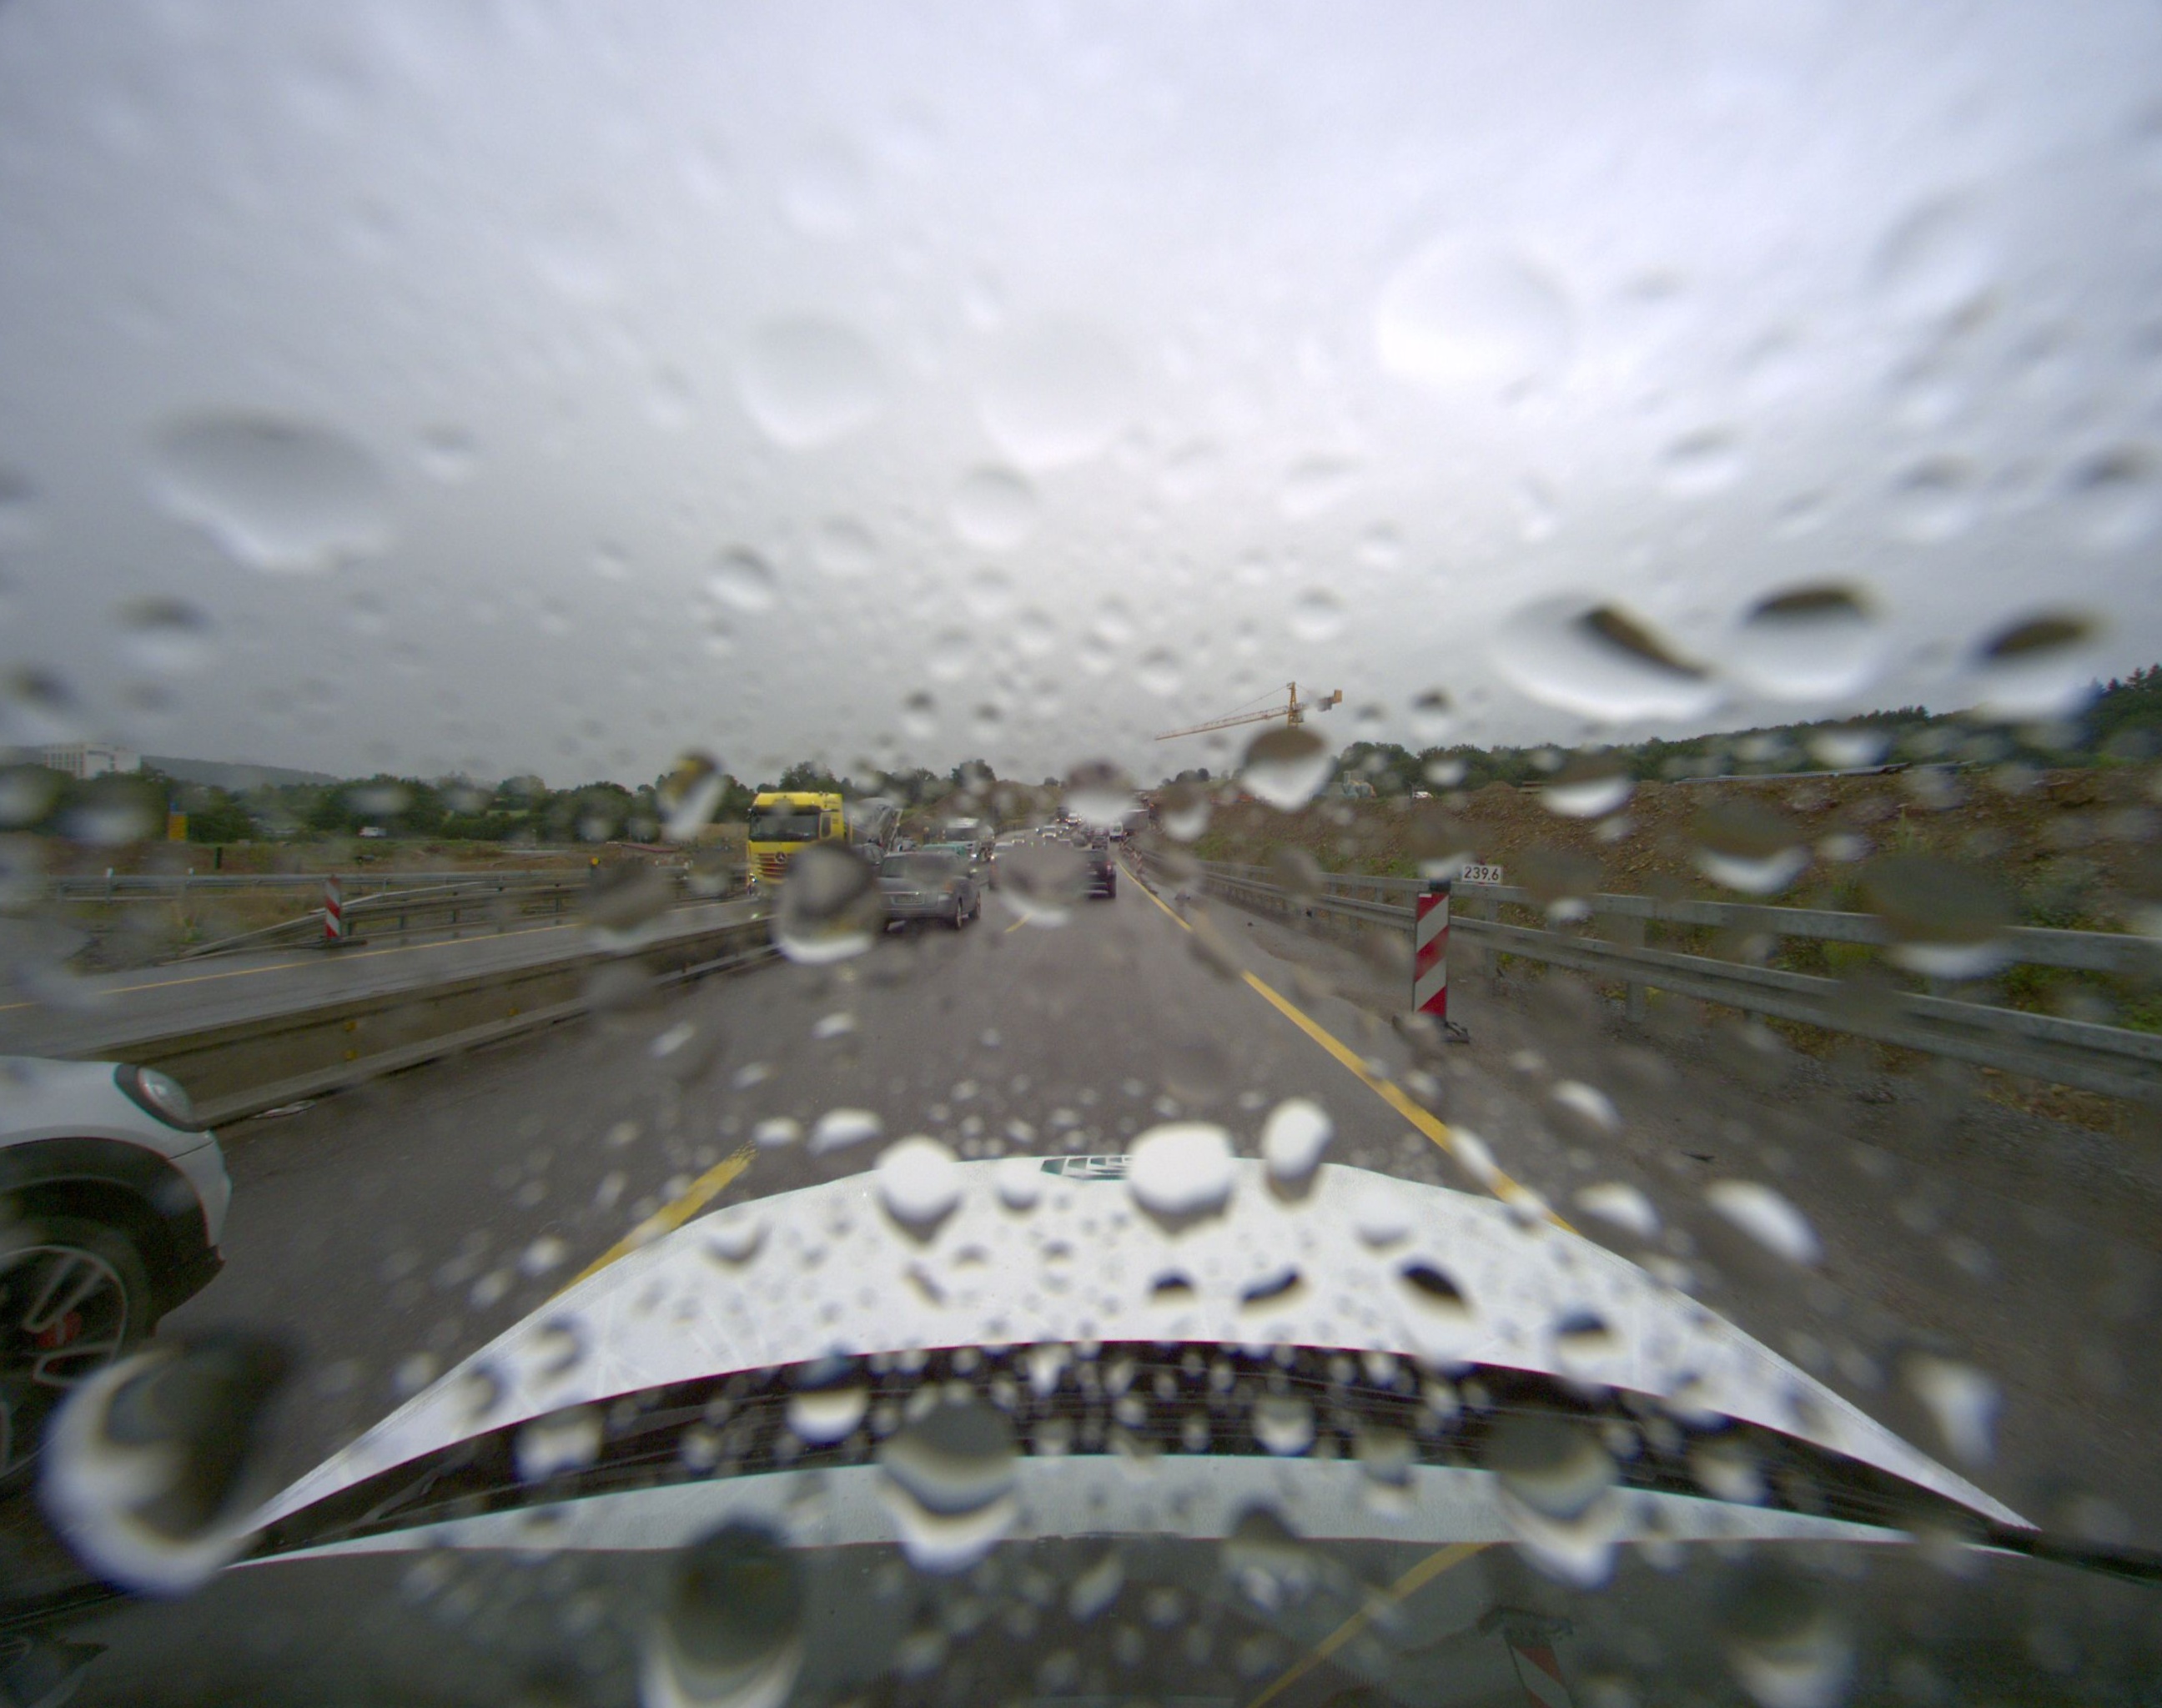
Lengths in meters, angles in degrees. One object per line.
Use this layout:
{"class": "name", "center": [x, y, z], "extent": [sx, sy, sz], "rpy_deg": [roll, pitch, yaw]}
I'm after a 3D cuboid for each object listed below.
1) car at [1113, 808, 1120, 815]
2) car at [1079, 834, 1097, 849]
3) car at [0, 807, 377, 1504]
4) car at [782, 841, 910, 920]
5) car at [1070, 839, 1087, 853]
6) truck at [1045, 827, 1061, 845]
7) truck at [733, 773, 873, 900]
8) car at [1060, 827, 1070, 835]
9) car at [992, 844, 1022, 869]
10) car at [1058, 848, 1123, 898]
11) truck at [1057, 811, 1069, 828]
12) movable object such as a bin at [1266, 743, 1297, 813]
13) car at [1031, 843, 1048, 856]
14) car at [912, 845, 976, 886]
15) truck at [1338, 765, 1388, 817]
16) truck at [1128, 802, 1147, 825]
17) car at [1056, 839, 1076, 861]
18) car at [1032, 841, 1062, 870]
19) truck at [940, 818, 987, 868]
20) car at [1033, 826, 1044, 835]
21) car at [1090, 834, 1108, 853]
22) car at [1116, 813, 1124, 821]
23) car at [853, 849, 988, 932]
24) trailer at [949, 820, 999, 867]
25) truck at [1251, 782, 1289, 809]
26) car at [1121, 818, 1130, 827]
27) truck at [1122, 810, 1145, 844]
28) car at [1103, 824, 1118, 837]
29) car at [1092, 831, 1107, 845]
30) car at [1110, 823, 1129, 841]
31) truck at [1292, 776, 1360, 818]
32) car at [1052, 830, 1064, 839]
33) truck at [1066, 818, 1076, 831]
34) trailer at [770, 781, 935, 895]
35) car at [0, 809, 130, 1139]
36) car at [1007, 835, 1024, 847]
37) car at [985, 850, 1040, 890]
{"class": "car", "center": [10.502, -12.719, 243.451], "extent": [1.987, 2.013, 4.000], "rpy_deg": [0, 0, 0]}
{"class": "car", "center": [1.009, -1.745, 118.126], "extent": [1.982, 2.162, 4.151], "rpy_deg": [0, 0, 9]}
{"class": "car", "center": [-3.430, 0.718, 0.685], "extent": [1.809, 1.600, 4.310], "rpy_deg": [0, 1, 2]}
{"class": "car", "center": [-6.099, 0.625, 21.816], "extent": [1.781, 1.805, 5.191], "rpy_deg": [-2, 0, 1]}
{"class": "car", "center": [-0.304, -0.989, 106.638], "extent": [1.986, 1.761, 3.816], "rpy_deg": [0, 0, 2]}
{"class": "truck", "center": [-4.095, -2.575, 120.017], "extent": [2.071, 2.576, 5.962], "rpy_deg": [0, 0, 1]}
{"class": "truck", "center": [-9.681, -0.577, 29.124], "extent": [2.739, 4.062, 6.149], "rpy_deg": [0, 0, 1]}
{"class": "car", "center": [-3.094, -4.371, 155.048], "extent": [1.671, 1.523, 4.346], "rpy_deg": [-1, 2, 1]}
{"class": "car", "center": [-5.536, 0.167, 61.274], "extent": [1.859, 1.800, 4.163], "rpy_deg": [0, 0, 1]}
{"class": "car", "center": [0.378, 0.610, 28.461], "extent": [2.073, 1.600, 4.142], "rpy_deg": [0, 0, 2]}
{"class": "truck", "center": [-4.195, -8.128, 192.674], "extent": [2.633, 3.969, 9.214], "rpy_deg": [0, 3, 0]}
{"class": "movable object such as a bin", "center": [34.048, -12.653, 137.919], "extent": [4.683, 10.841, 10.346], "rpy_deg": [0, 0, 15]}
{"class": "car", "center": [-5.000, -0.536, 99.404], "extent": [1.766, 1.504, 4.679], "rpy_deg": [-1, 1, 1]}
{"class": "car", "center": [-6.126, 0.467, 36.931], "extent": [1.986, 1.759, 4.689], "rpy_deg": [0, 1, 1]}
{"class": "truck", "center": [25.045, -5.524, 72.601], "extent": [2.365, 4.218, 5.979], "rpy_deg": [0, 0, 0]}
{"class": "truck", "center": [13.786, -9.849, 198.893], "extent": [3.791, 5.042, 12.922], "rpy_deg": [0, 0, 0]}
{"class": "car", "center": [-1.618, -0.428, 86.044], "extent": [1.988, 2.162, 4.137], "rpy_deg": [0, 0, -2]}
{"class": "car", "center": [-2.439, 0.083, 59.595], "extent": [1.987, 2.013, 3.893], "rpy_deg": [0, 0, 0]}
{"class": "truck", "center": [-9.117, -0.863, 63.776], "extent": [2.611, 3.677, 6.595], "rpy_deg": [0, 0, 0]}
{"class": "car", "center": [-7.559, -4.160, 145.271], "extent": [1.780, 1.538, 4.313], "rpy_deg": [-1, 1, 1]}
{"class": "car", "center": [2.170, -1.231, 96.920], "extent": [1.986, 2.162, 4.142], "rpy_deg": [0, 0, 2]}
{"class": "car", "center": [9.866, -9.334, 206.469], "extent": [1.987, 2.013, 4.001], "rpy_deg": [-1, 2, 1]}
{"class": "car", "center": [-3.329, 0.695, 17.776], "extent": [1.986, 1.600, 4.142], "rpy_deg": [0, 0, 2]}
{"class": "trailer", "center": [-9.079, -0.904, 70.267], "extent": [2.611, 3.677, 12.004], "rpy_deg": [0, 0, 0]}
{"class": "truck", "center": [20.965, -6.457, 90.756], "extent": [2.636, 2.554, 6.985], "rpy_deg": [0, 0, 0]}
{"class": "car", "center": [10.075, -7.082, 185.185], "extent": [1.987, 2.013, 4.001], "rpy_deg": [-1, 2, 1]}
{"class": "truck", "center": [9.019, -4.452, 138.413], "extent": [3.083, 5.425, 9.466], "rpy_deg": [0, 0, 9]}
{"class": "car", "center": [5.150, -4.129, 141.604], "extent": [1.981, 2.162, 4.152], "rpy_deg": [0, 0, 10]}
{"class": "car", "center": [3.017, -2.632, 132.007], "extent": [1.982, 2.162, 4.151], "rpy_deg": [0, 0, 9]}
{"class": "car", "center": [5.650, -3.200, 120.288], "extent": [1.980, 2.484, 4.999], "rpy_deg": [0, 0, 12]}
{"class": "truck", "center": [20.282, -4.626, 68.058], "extent": [3.382, 2.875, 8.966], "rpy_deg": [0, 0, 3]}
{"class": "car", "center": [-3.884, -3.294, 139.917], "extent": [1.780, 1.538, 4.313], "rpy_deg": [-1, 1, 1]}
{"class": "truck", "center": [-2.117, -6.420, 177.696], "extent": [2.140, 2.713, 6.017], "rpy_deg": [0, 2, 0]}
{"class": "trailer", "center": [-9.501, -0.610, 36.630], "extent": [2.739, 4.042, 15.362], "rpy_deg": [0, 0, 1]}
{"class": "car", "center": [-6.843, 0.671, 2.327], "extent": [1.868, 1.792, 5.360], "rpy_deg": [-1, 0, 1]}
{"class": "car", "center": [-8.637, -1.699, 107.914], "extent": [1.782, 1.546, 4.001], "rpy_deg": [0, 1, 1]}
{"class": "car", "center": [-2.861, 0.630, 34.853], "extent": [1.987, 1.600, 4.139], "rpy_deg": [0, 0, 0]}
